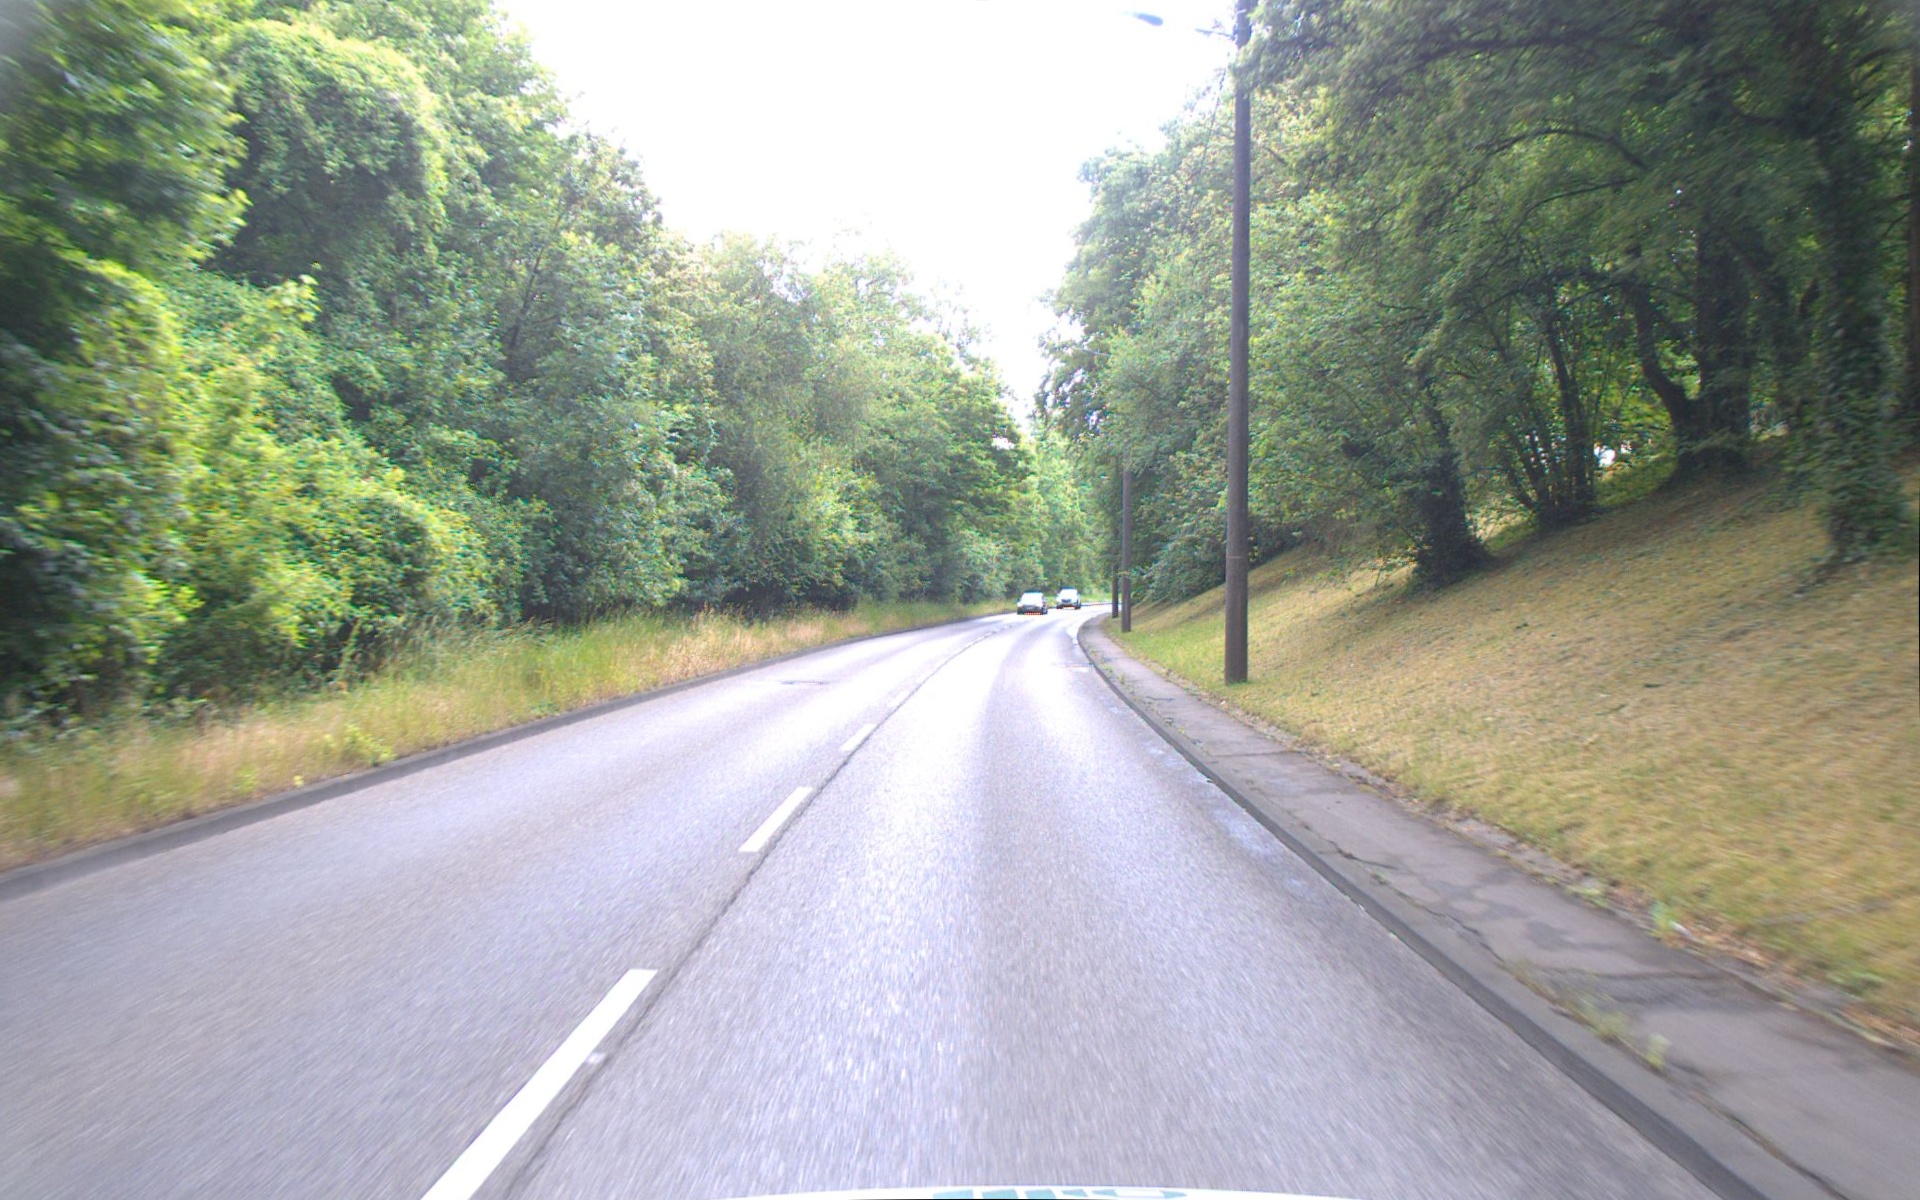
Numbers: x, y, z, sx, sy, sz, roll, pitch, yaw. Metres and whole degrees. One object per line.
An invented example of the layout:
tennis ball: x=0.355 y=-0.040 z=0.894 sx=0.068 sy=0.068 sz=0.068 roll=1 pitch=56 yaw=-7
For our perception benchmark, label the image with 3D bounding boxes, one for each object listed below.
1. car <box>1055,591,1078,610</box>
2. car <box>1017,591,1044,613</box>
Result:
car: x=9.231 y=0.058 z=142.967 sx=1.901 sy=1.609 sz=4.442 roll=0 pitch=0 yaw=3
car: x=4.789 y=0.097 z=112.537 sx=1.772 sy=1.445 sz=4.001 roll=0 pitch=0 yaw=3
